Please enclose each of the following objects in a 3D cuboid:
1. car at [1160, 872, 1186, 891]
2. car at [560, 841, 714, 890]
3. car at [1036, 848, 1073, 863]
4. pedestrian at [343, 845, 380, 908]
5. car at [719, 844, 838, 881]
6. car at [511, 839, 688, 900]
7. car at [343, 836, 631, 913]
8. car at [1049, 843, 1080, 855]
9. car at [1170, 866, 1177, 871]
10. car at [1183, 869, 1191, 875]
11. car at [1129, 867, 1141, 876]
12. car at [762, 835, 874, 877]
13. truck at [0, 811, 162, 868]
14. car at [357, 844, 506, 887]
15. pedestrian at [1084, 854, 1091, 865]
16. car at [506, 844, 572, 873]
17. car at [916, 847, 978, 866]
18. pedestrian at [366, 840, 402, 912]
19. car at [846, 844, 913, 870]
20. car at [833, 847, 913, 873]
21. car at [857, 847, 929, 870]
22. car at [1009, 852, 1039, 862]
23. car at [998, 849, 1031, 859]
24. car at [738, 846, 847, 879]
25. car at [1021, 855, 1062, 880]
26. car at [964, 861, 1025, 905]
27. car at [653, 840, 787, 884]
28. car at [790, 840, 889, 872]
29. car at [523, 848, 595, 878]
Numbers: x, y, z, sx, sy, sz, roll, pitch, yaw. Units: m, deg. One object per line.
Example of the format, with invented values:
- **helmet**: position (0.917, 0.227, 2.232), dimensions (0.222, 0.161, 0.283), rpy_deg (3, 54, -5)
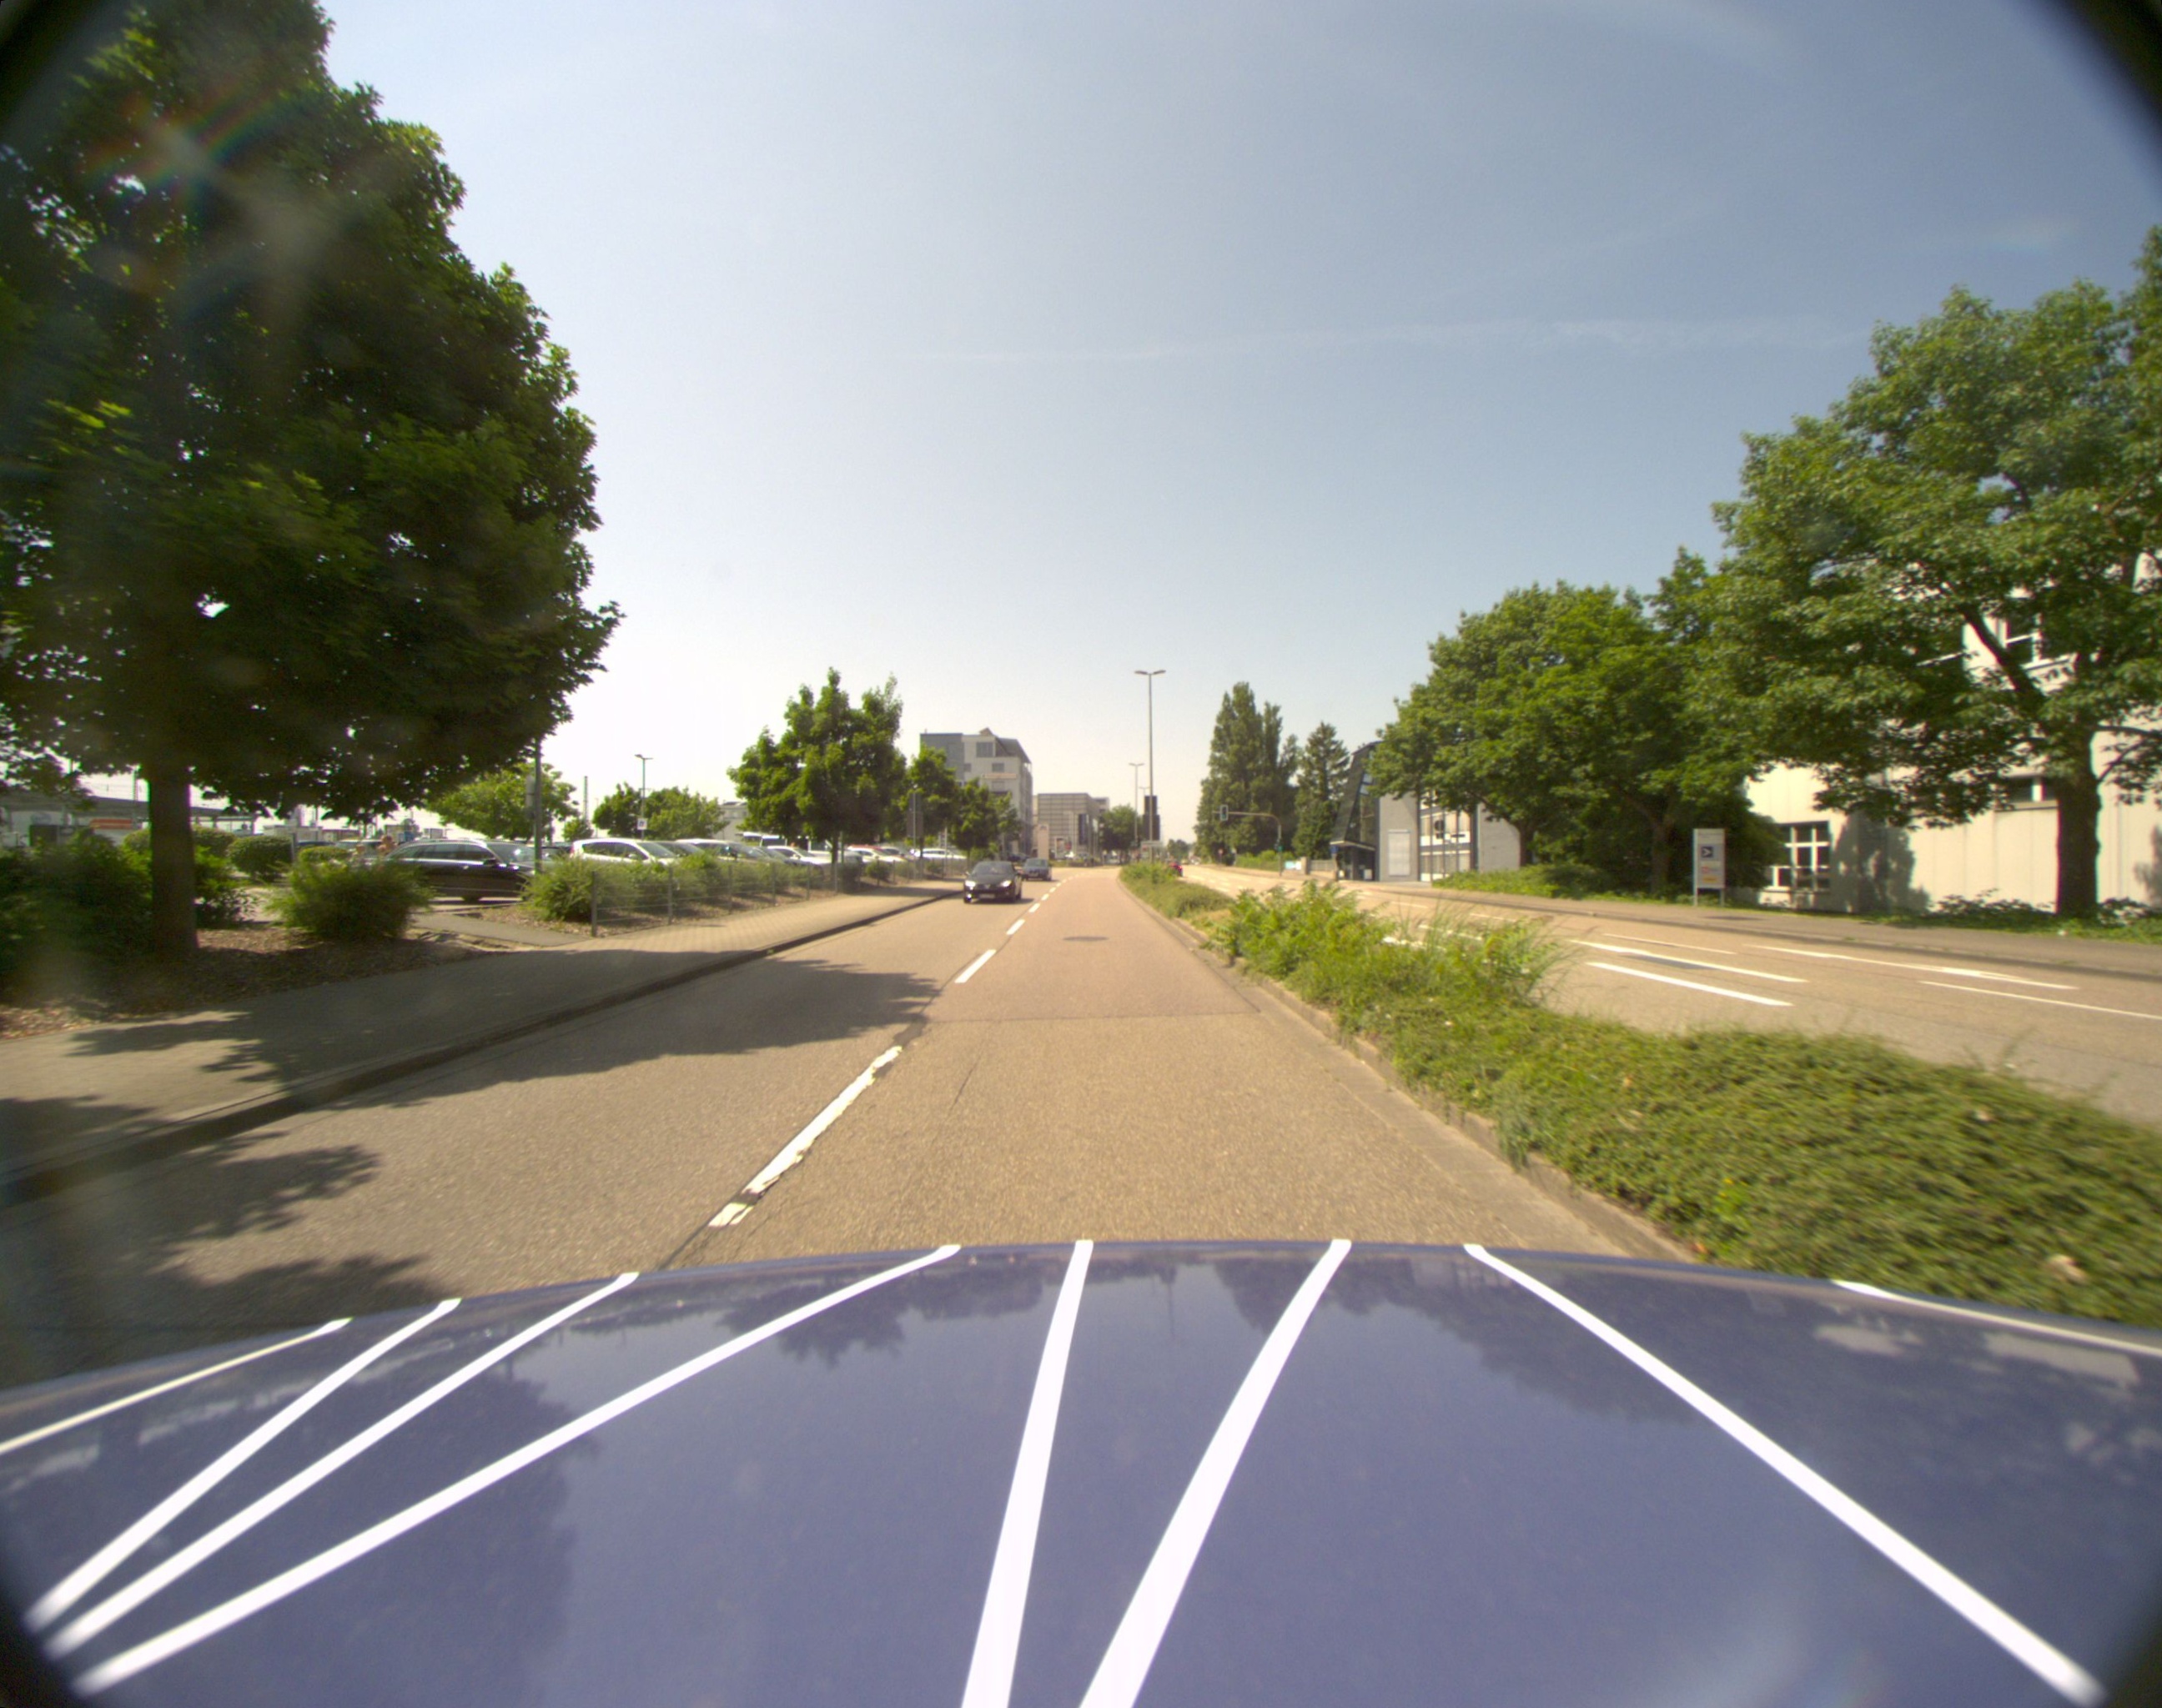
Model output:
- **car**: position (7.474, 2.226, 61.967), dimensions (1.733, 1.316, 4.150), rpy_deg (1, 0, 2)
- **car**: position (-14.662, 0.347, 25.285), dimensions (3.998, 1.525, 1.826), rpy_deg (0, 1, -3)
- **car**: position (-3.667, 0.194, 103.966), dimensions (4.704, 1.787, 2.184), rpy_deg (-3, 0, 7)
- **pedestrian**: position (-16.376, 0.509, 17.294), dimensions (0.448, 1.405, 0.416), rpy_deg (1, 0, -1)
- **car**: position (-12.015, 0.330, 30.355), dimensions (3.996, 1.381, 1.827), rpy_deg (0, 0, 3)
- **car**: position (-14.176, 0.435, 22.533), dimensions (3.997, 1.586, 1.826), rpy_deg (-2, 0, -2)
- **car**: position (-13.437, 0.447, 17.442), dimensions (5.003, 1.587, 2.022), rpy_deg (1, 1, 0)
- **car**: position (-2.500, -0.722, 115.041), dimensions (4.473, 1.600, 2.097), rpy_deg (-2, 1, 3)
- **car**: position (26.970, 4.243, 221.368), dimensions (1.763, 1.410, 4.093), rpy_deg (0, -1, 3)
- **car**: position (30.104, 5.136, 215.091), dimensions (1.898, 1.551, 4.288), rpy_deg (1, 0, 4)
- **car**: position (8.598, 2.828, 121.112), dimensions (1.867, 1.390, 4.001), rpy_deg (0, 0, 3)
- **car**: position (-12.389, 0.094, 35.899), dimensions (4.627, 1.913, 1.827), rpy_deg (0, 0, 3)
- **truck**: position (-72.809, -0.971, 53.787), dimensions (2.856, 3.815, 10.036), rpy_deg (1, 0, 5)
- **car**: position (-23.441, 0.389, 27.634), dimensions (1.649, 1.433, 4.003), rpy_deg (1, 0, 8)
- **pedestrian**: position (0.976, 0.770, 112.293), dimensions (0.830, 1.616, 1.005), rpy_deg (-1, 2, 7)
- **car**: position (-27.961, 0.218, 39.295), dimensions (1.268, 1.412, 2.958), rpy_deg (1, 0, 1)
- **car**: position (-10.636, 0.188, 60.473), dimensions (4.587, 1.496, 1.698), rpy_deg (0, 0, 1)
- **pedestrian**: position (-16.316, 0.506, 17.782), dimensions (0.448, 1.663, 0.416), rpy_deg (1, 0, -1)
- **car**: position (-12.213, 0.203, 46.262), dimensions (3.598, 1.528, 1.723), rpy_deg (0, 0, 0)
- **car**: position (-11.704, 0.314, 42.913), dimensions (4.005, 1.413, 1.698), rpy_deg (0, 0, 2)
- **car**: position (-12.089, 0.274, 49.060), dimensions (4.179, 1.413, 1.698), rpy_deg (0, 0, 4)
- **car**: position (-7.606, 0.401, 101.422), dimensions (3.880, 1.331, 1.756), rpy_deg (0, 0, 2)
- **car**: position (-8.513, -0.013, 97.052), dimensions (3.996, 1.331, 1.863), rpy_deg (0, 0, 2)
- **car**: position (-12.433, 0.374, 32.916), dimensions (3.996, 1.381, 1.827), rpy_deg (0, 0, 3)
- **car**: position (-2.343, 0.805, 46.435), dimensions (1.710, 1.316, 3.958), rpy_deg (4, 1, 8)
- **car**: position (-2.857, 0.929, 25.750), dimensions (1.641, 1.348, 3.499), rpy_deg (0, 0, 0)
- **car**: position (-13.098, 0.275, 27.709), dimensions (3.996, 1.525, 1.827), rpy_deg (0, 1, 3)
- **car**: position (-12.199, 0.094, 38.542), dimensions (4.377, 1.583, 1.827), rpy_deg (0, 0, 3)
- **car**: position (-25.970, 0.432, 37.895), dimensions (1.268, 1.412, 3.253), rpy_deg (1, 0, 1)
